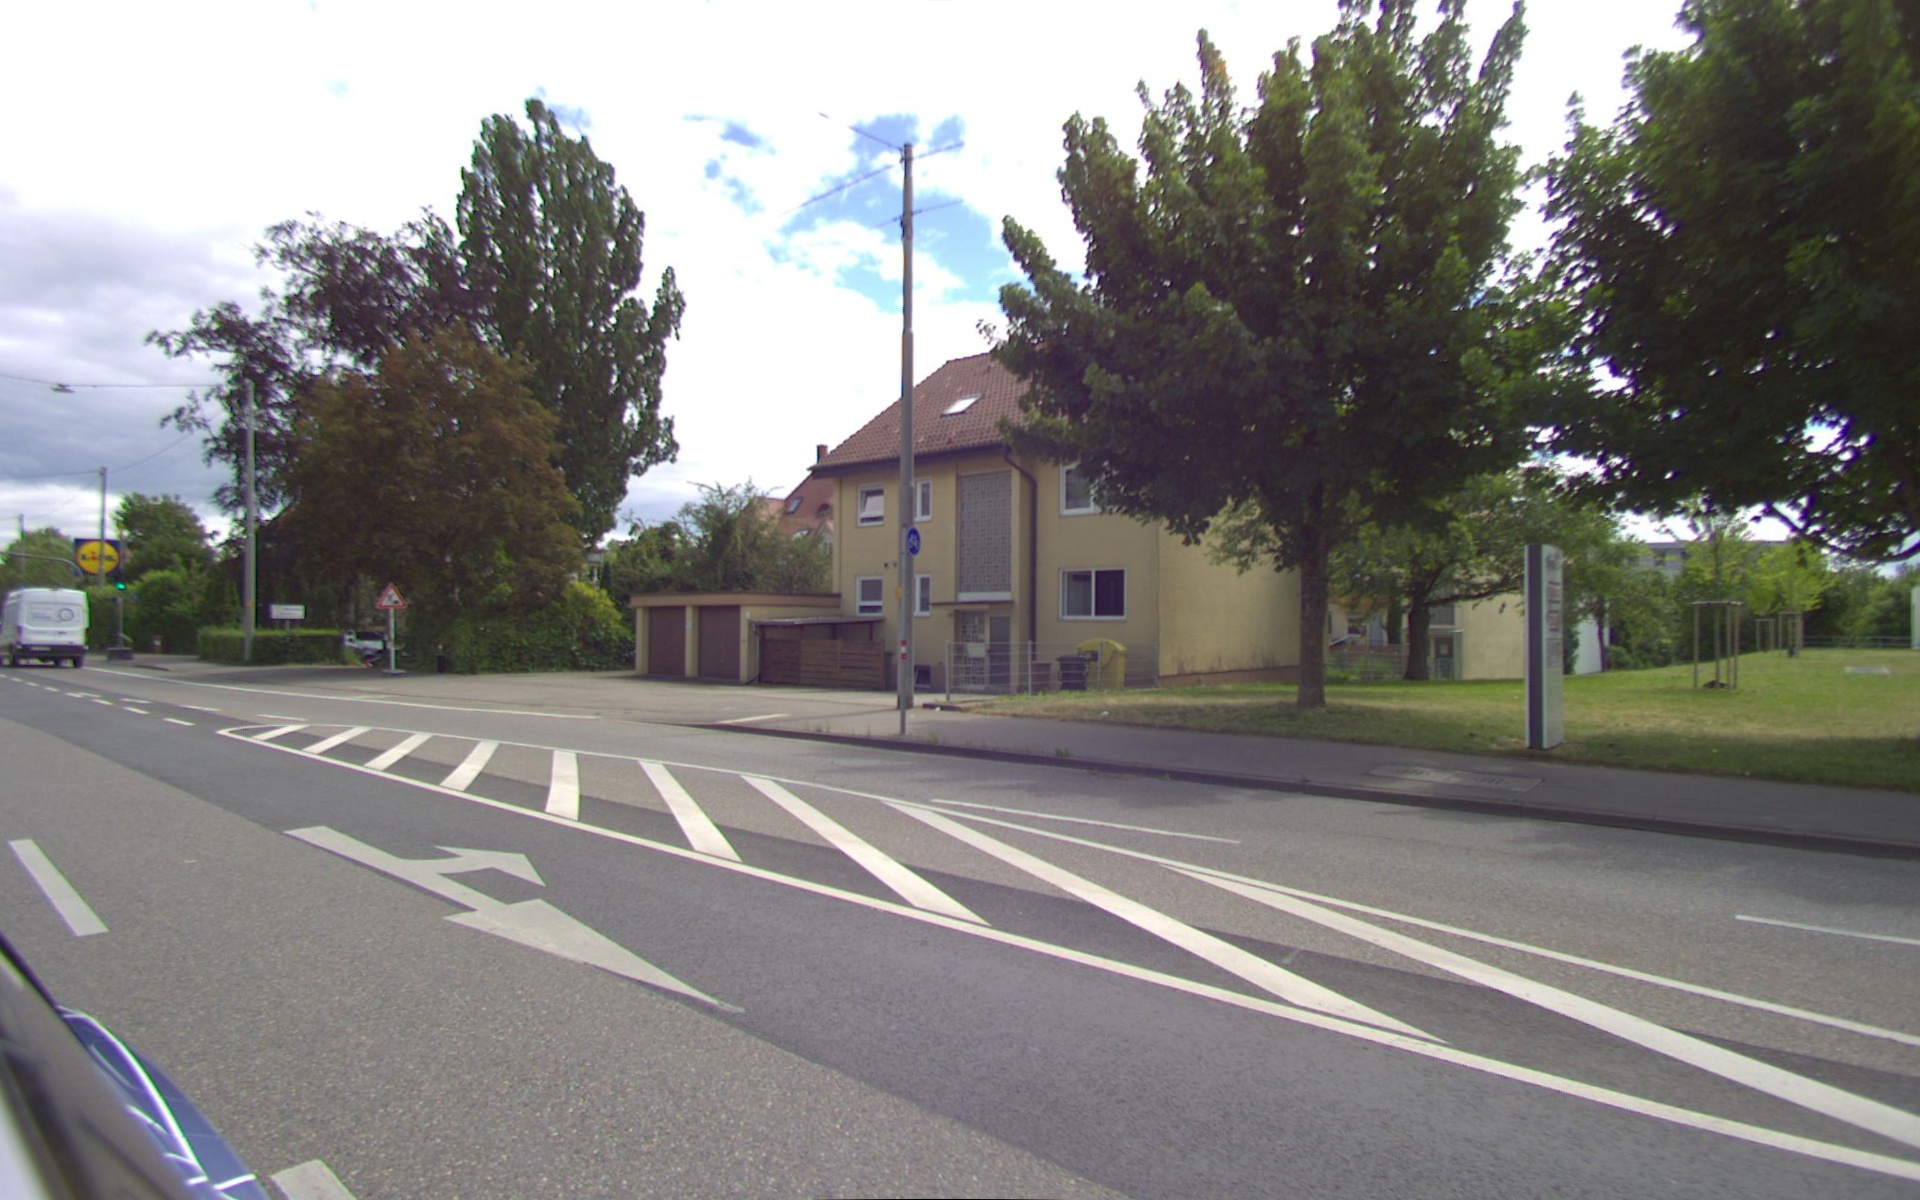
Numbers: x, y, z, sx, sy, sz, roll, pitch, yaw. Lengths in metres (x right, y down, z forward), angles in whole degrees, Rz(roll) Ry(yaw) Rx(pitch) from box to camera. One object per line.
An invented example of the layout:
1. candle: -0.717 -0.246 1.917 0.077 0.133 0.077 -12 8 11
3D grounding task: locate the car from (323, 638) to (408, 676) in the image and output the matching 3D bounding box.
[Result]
1. car: -24.238 2.316 41.228 3.516 1.399 1.646 0 -4 35

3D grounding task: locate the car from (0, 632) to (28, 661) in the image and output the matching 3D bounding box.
1. car: -63.917 3.085 66.690 1.967 1.797 4.011 -1 1 -13

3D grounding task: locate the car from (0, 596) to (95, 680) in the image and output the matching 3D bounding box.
1. car: -33.882 1.397 37.115 6.141 2.841 2.122 -2 -4 39
